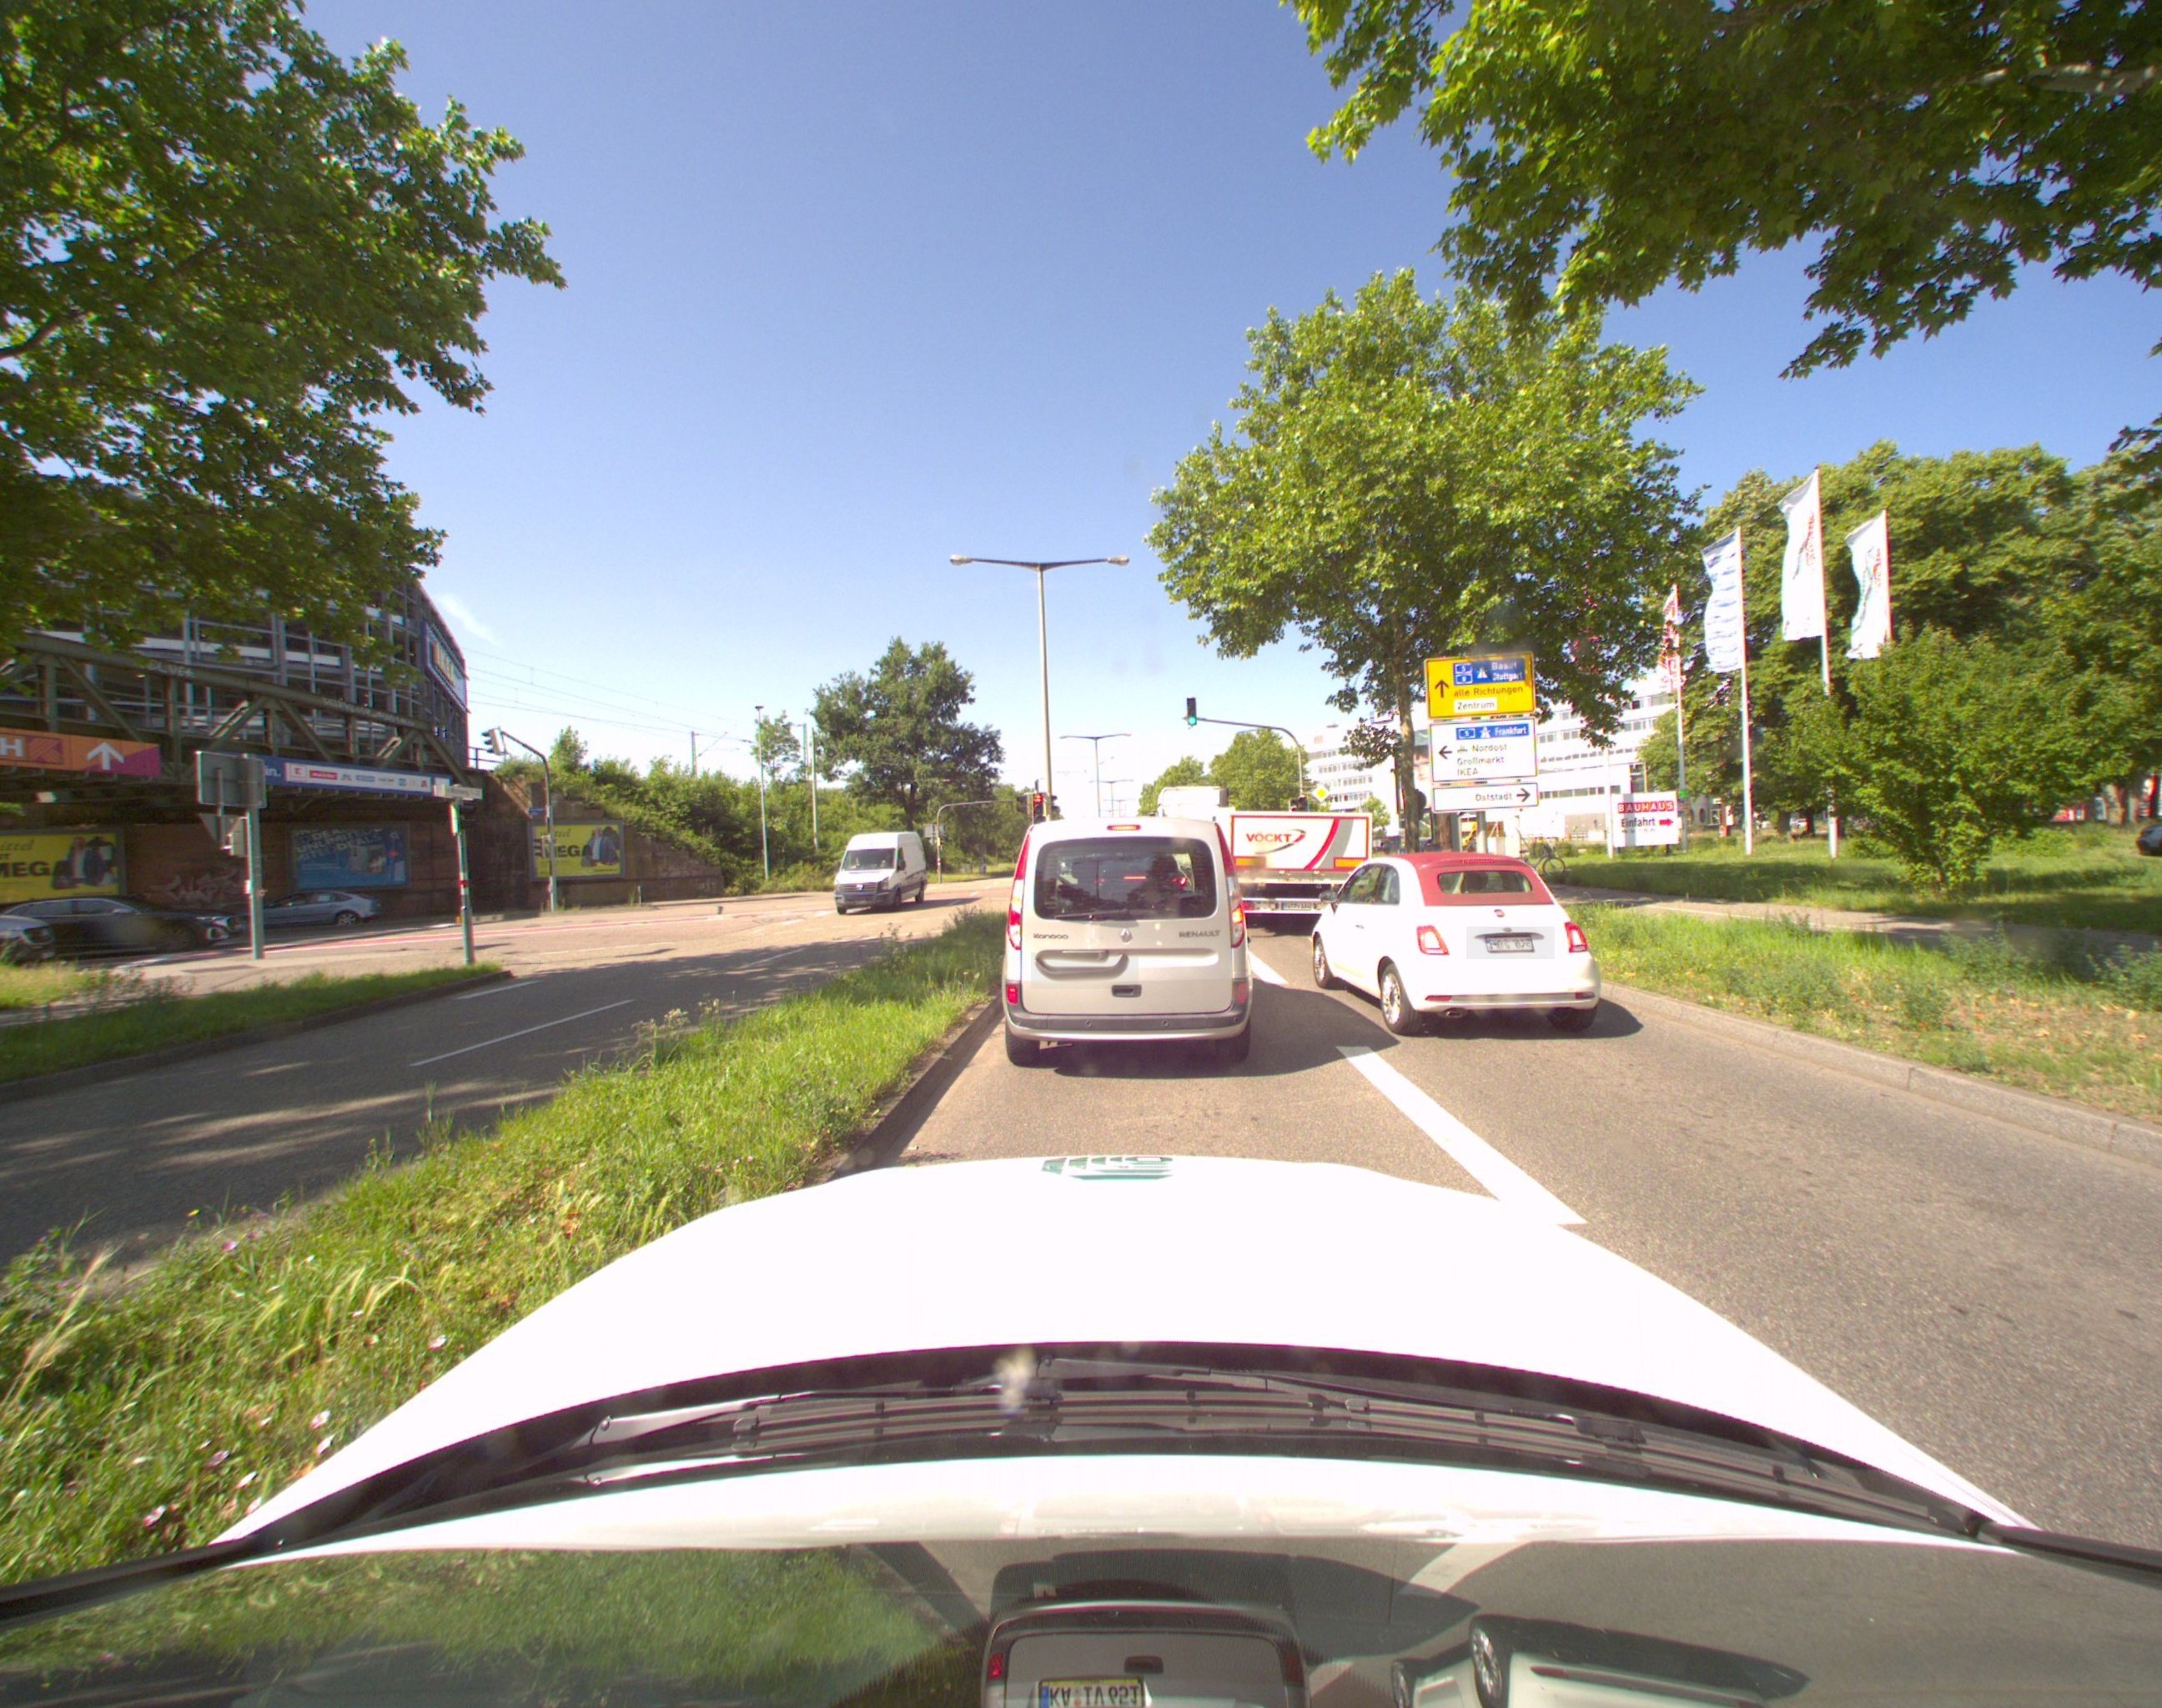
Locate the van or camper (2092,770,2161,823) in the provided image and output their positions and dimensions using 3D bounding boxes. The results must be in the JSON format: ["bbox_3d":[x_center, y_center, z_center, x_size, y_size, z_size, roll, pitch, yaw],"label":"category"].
[{"bbox_3d":[63.644,-3.397,46.518,2.007,2.942,7.213,0,-1,-32],"label":"van or camper"}]

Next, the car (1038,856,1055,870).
[{"bbox_3d":[-4.193,1.089,99.175,1.693,1.508,4.002,-2,0,2],"label":"car"}]

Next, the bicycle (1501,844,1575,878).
[{"bbox_3d":[14.993,0.230,26.764,1.985,1.014,0.624,-3,0,18],"label":"bicycle"}]

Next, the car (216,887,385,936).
[{"bbox_3d":[-28.964,2.106,30.408,4.240,1.349,1.624,-4,1,-32],"label":"car"}]

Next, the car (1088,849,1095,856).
[{"bbox_3d":[3.122,-0.379,251.063,1.880,2.014,4.004,0,-1,4],"label":"car"}]

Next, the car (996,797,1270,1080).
[{"bbox_3d":[0.401,0.568,7.315,1.779,1.838,4.001,0,-1,2],"label":"car"}]

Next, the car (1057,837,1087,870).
[{"bbox_3d":[-0.758,-0.028,69.867,1.984,2.607,5.140,-3,-1,5],"label":"car"}]

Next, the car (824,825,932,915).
[{"bbox_3d":[-6.815,0.504,28.125,1.986,2.662,5.788,-3,0,2],"label":"car"}]

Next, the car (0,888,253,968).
[{"bbox_3d":[-25.750,1.923,22.203,4.015,1.646,1.885,-4,1,-32],"label":"car"}]

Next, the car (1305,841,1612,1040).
[{"bbox_3d":[3.333,0.677,7.862,1.532,1.514,3.261,0,-1,2],"label":"car"}]

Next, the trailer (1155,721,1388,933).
[{"bbox_3d":[3.869,-0.420,20.374,2.890,3.622,12.684,0,0,0],"label":"trailer"}]

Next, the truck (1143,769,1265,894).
[{"bbox_3d":[3.883,-0.638,27.444,2.902,3.643,7.186,0,-1,-1],"label":"truck"}]

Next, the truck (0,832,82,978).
[{"bbox_3d":[-26.319,1.279,16.693,6.890,3.105,2.196,-4,1,-32],"label":"truck"}]
